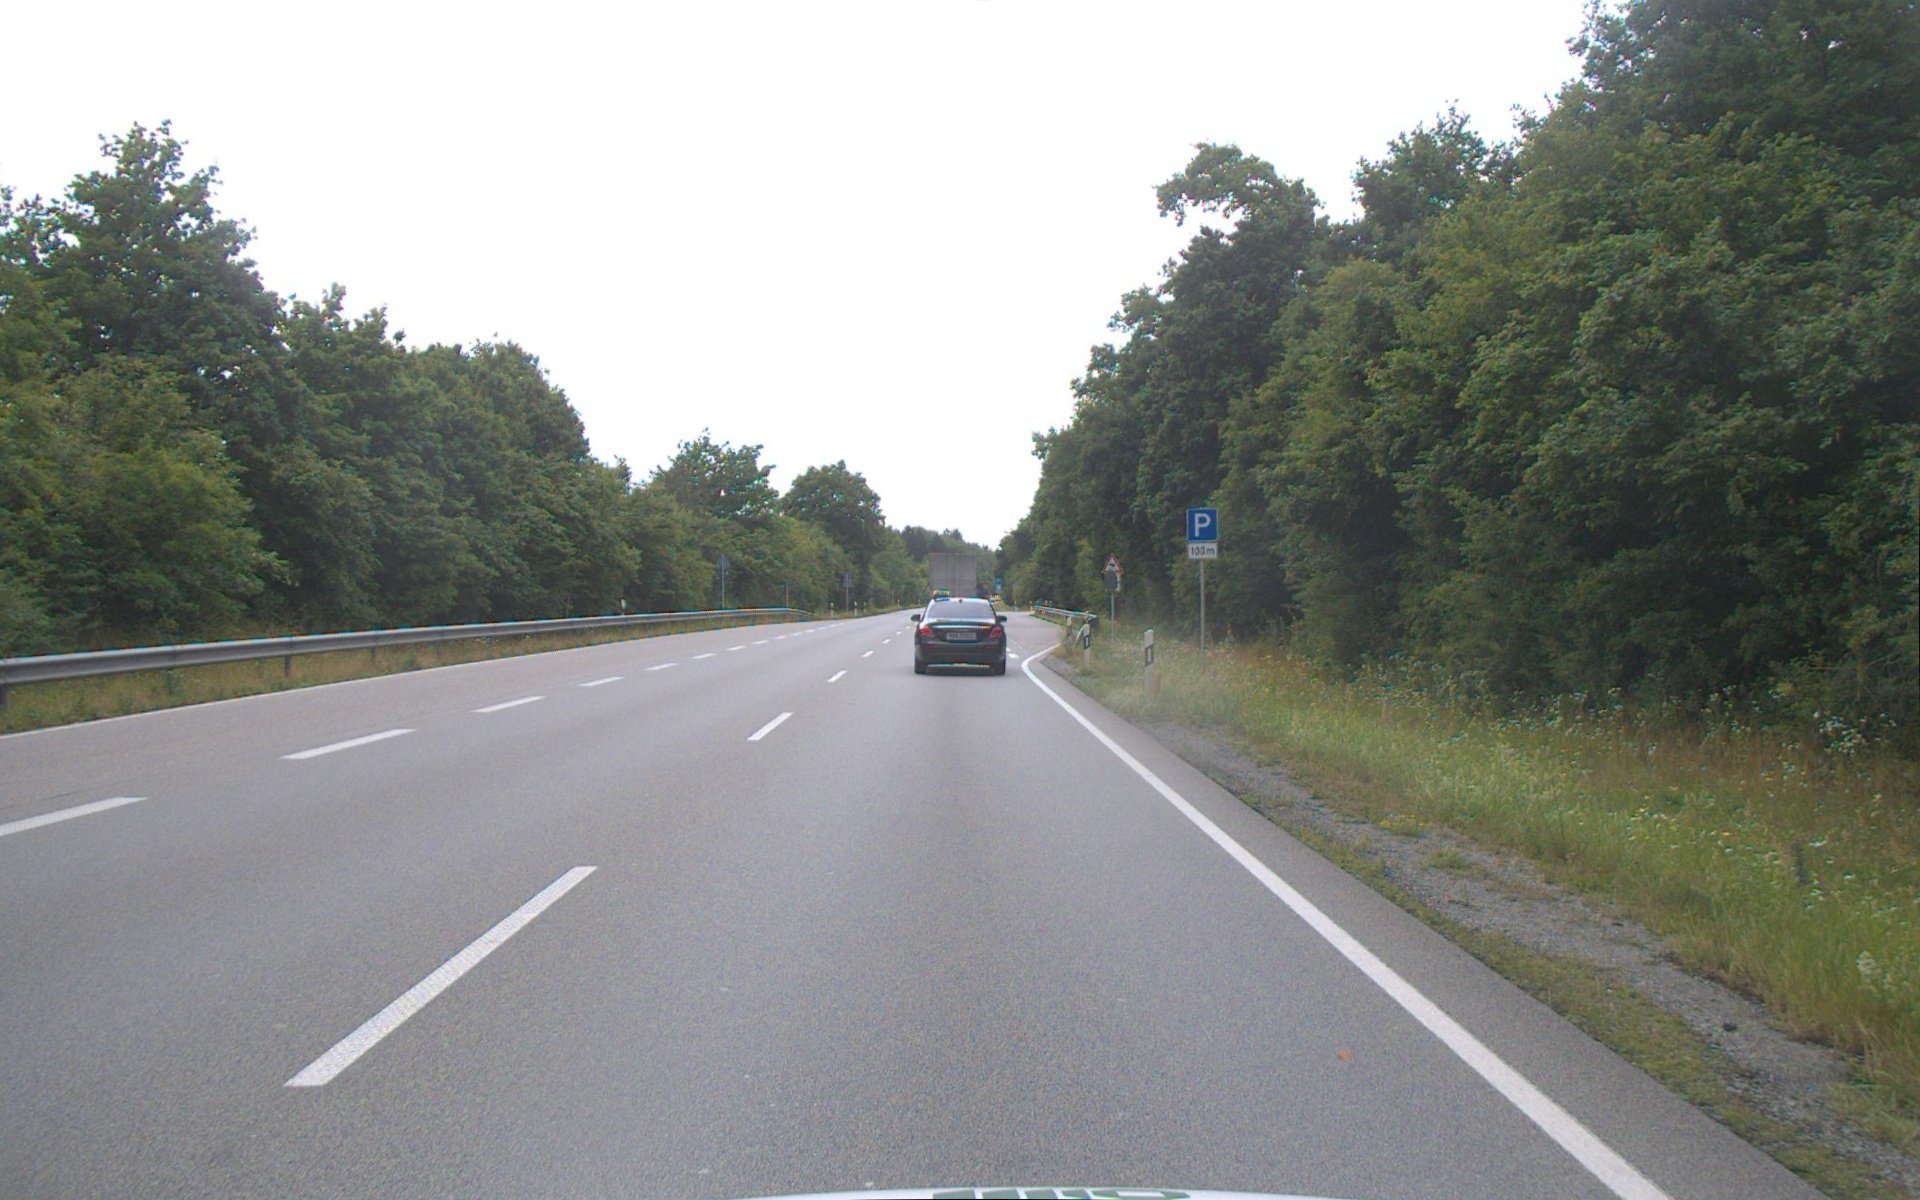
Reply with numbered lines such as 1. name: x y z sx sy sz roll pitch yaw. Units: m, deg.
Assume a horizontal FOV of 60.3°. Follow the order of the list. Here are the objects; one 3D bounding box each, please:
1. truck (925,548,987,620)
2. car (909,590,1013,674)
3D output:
1. truck: -0.284 -0.846 91.920 3.214 3.675 11.397 1 0 -1
2. car: -0.034 0.609 33.345 1.756 1.579 3.996 1 0 -5
